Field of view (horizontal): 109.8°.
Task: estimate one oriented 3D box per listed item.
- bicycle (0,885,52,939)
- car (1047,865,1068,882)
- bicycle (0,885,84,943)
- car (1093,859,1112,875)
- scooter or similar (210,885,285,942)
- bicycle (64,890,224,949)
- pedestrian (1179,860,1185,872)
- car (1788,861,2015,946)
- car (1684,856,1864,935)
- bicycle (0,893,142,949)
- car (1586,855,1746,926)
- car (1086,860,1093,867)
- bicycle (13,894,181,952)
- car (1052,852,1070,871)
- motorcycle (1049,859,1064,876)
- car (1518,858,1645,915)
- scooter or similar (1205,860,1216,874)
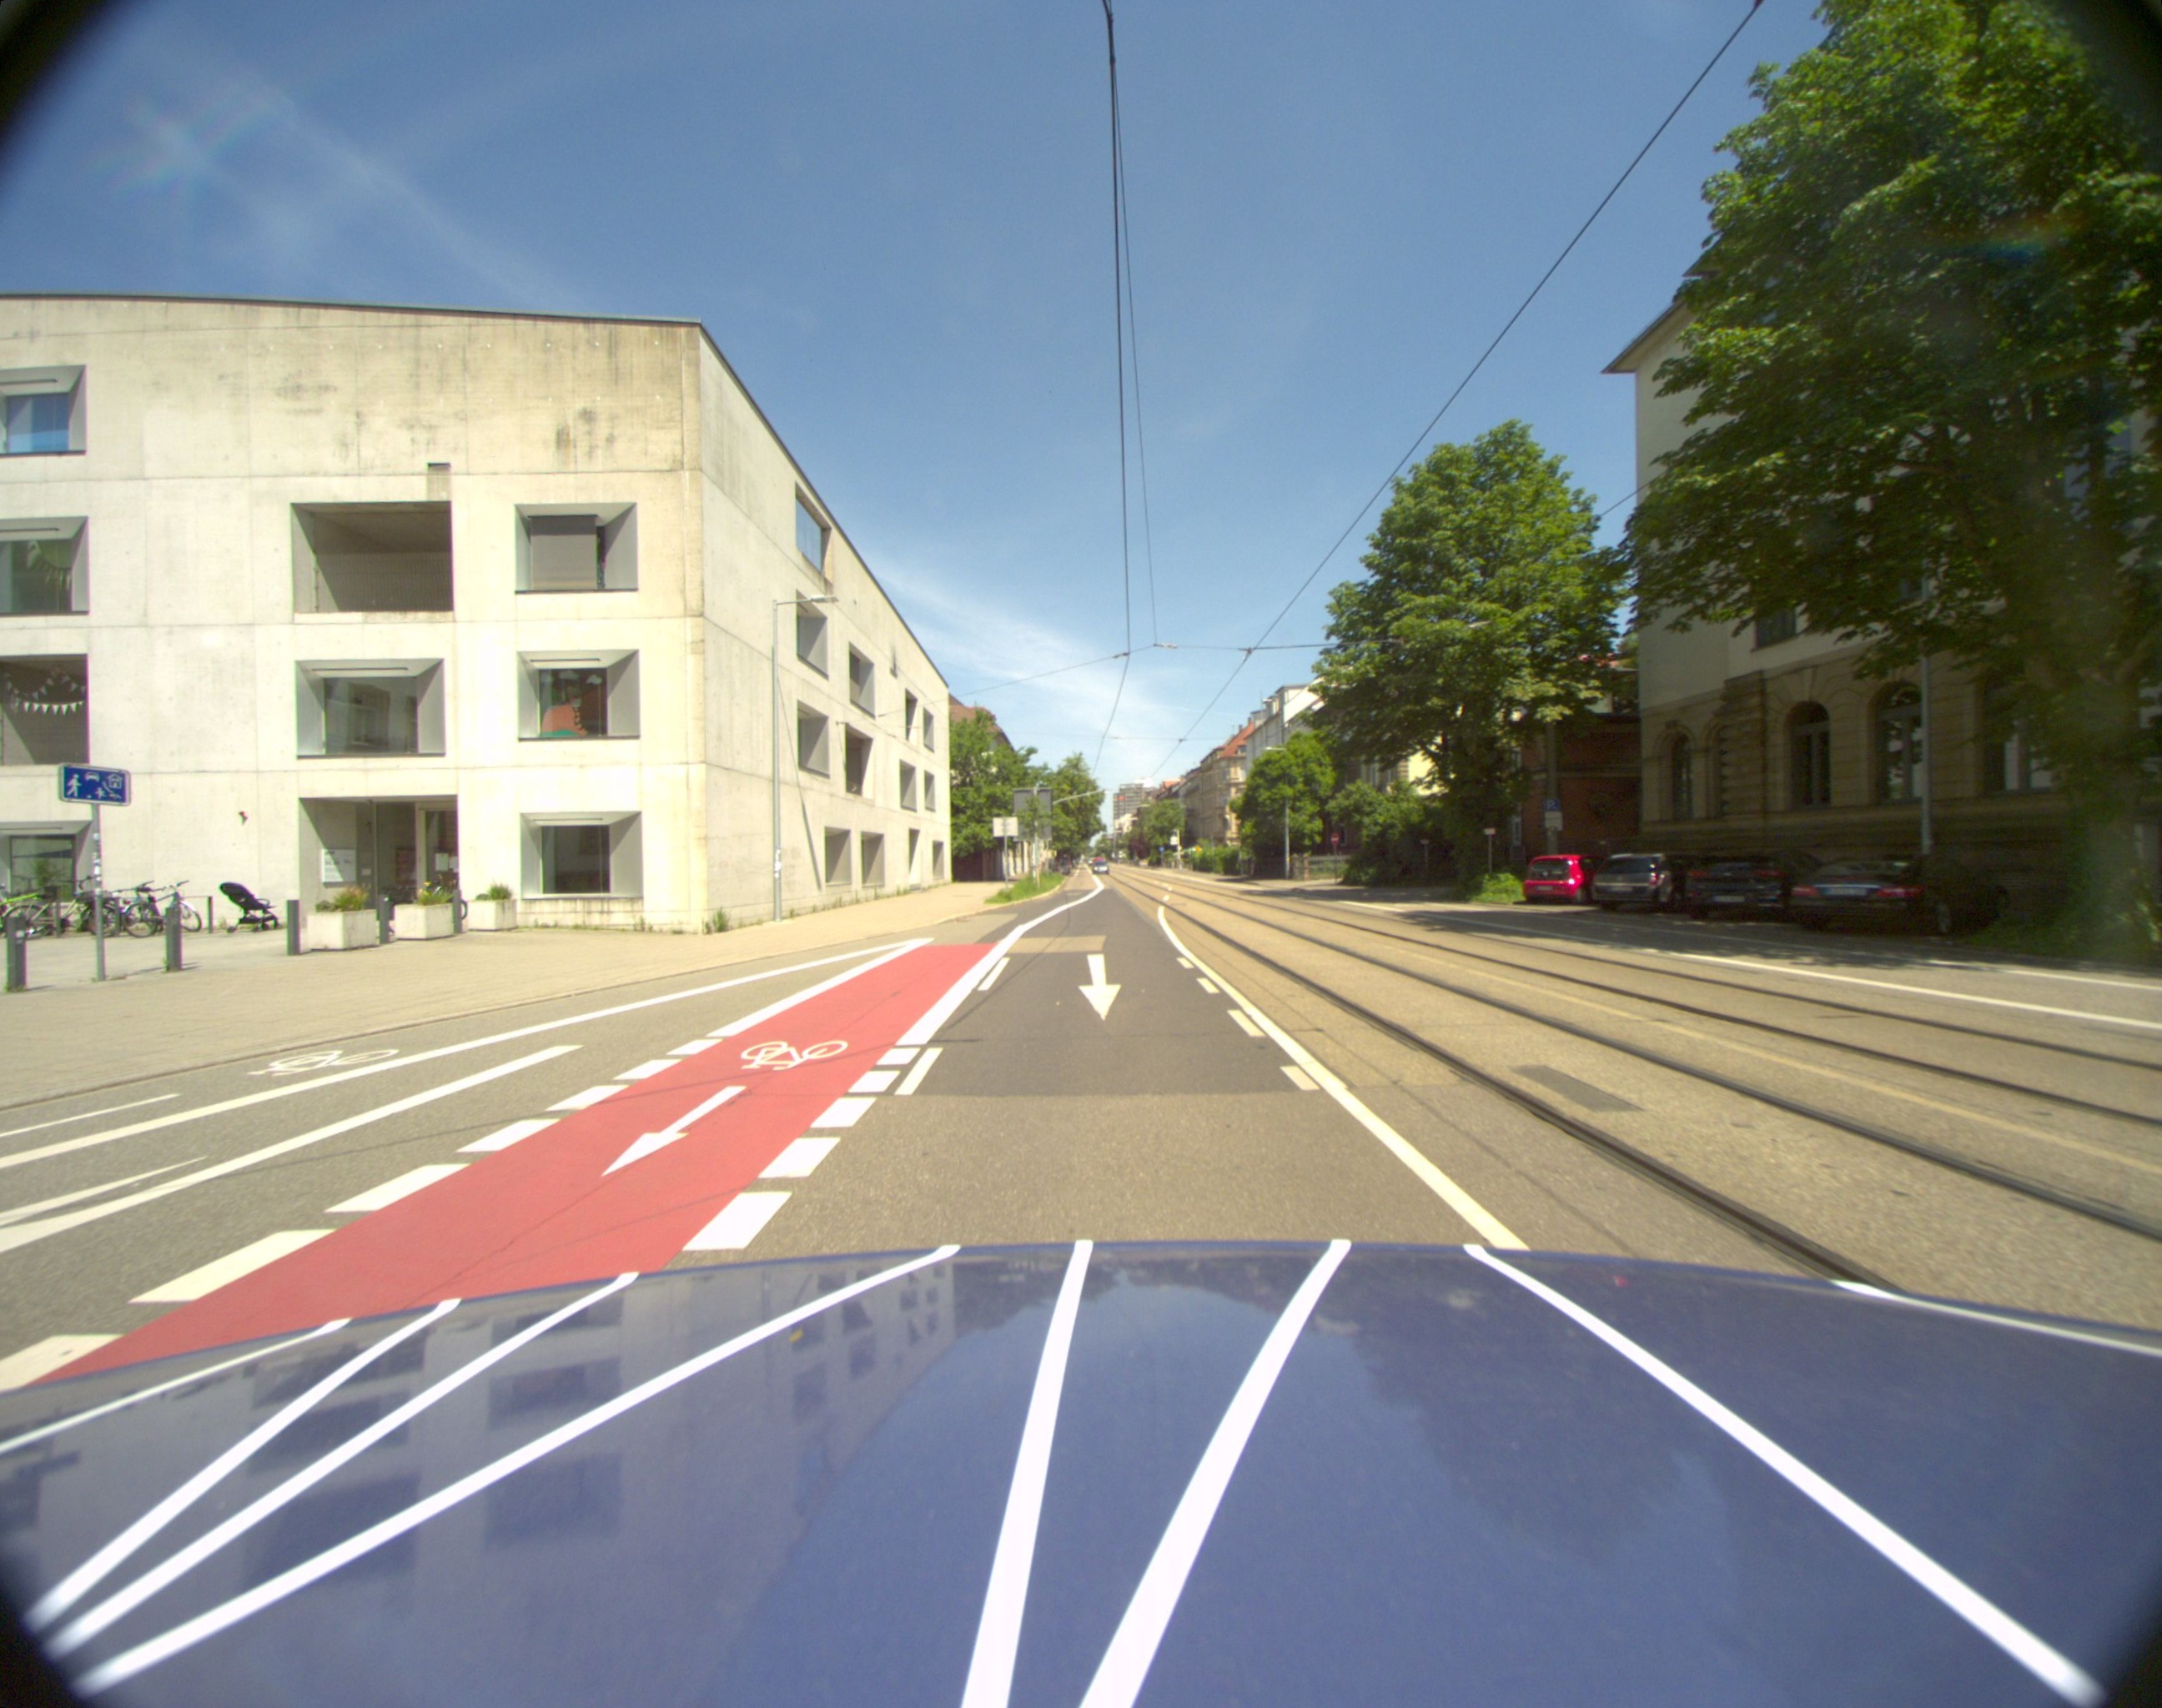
[{"bbox_3d":[-23.026,1.243,15.826,0.652,1.108,1.930,-1,0,-5],"label":"bicycle"},{"bbox_3d":[-2.342,1.925,76.409,1.864,1.567,4.878,-1,-1,1],"label":"car"},{"bbox_3d":[-22.293,1.241,15.822,0.652,1.125,1.887,-1,0,-5],"label":"bicycle"},{"bbox_3d":[2.237,1.339,79.617,1.893,1.561,4.037,-1,0,0],"label":"car"},{"bbox_3d":[-17.642,1.239,16.103,0.534,1.133,0.963,-1,0,-5],"label":"scooter or similar"},{"bbox_3d":[-18.855,1.283,15.392,0.652,0.998,2.199,-1,0,-5],"label":"bicycle"},{"bbox_3d":[13.223,1.575,99.481,0.742,1.632,0.940,-1,0,3],"label":"pedestrian"},{"bbox_3d":[14.917,0.821,13.802,3.939,1.366,1.666,0,-1,-25],"label":"car"},{"bbox_3d":[15.333,0.842,16.800,3.824,1.567,1.790,0,-1,-29],"label":"car"},{"bbox_3d":[-20.794,1.332,15.511,0.652,0.979,2.199,-1,0,-5],"label":"bicycle"},{"bbox_3d":[15.219,0.873,19.713,4.328,1.575,1.666,-2,0,-29],"label":"car"},{"bbox_3d":[1.838,2.000,166.119,1.539,1.535,4.000,-1,0,0],"label":"car"},{"bbox_3d":[-19.646,1.344,15.268,0.652,0.979,2.199,-1,0,-5],"label":"bicycle"},{"bbox_3d":[-2.236,0.816,86.317,1.864,2.002,4.975,-1,1,1],"label":"car"},{"bbox_3d":[-2.225,1.213,69.115,0.746,1.497,2.561,0,-1,12],"label":"motorcycle"},{"bbox_3d":[15.059,0.936,22.855,3.357,1.507,1.666,-1,0,-25],"label":"car"},{"bbox_3d":[13.823,1.345,80.981,1.011,1.442,0.597,-1,1,0],"label":"scooter or similar"}]
